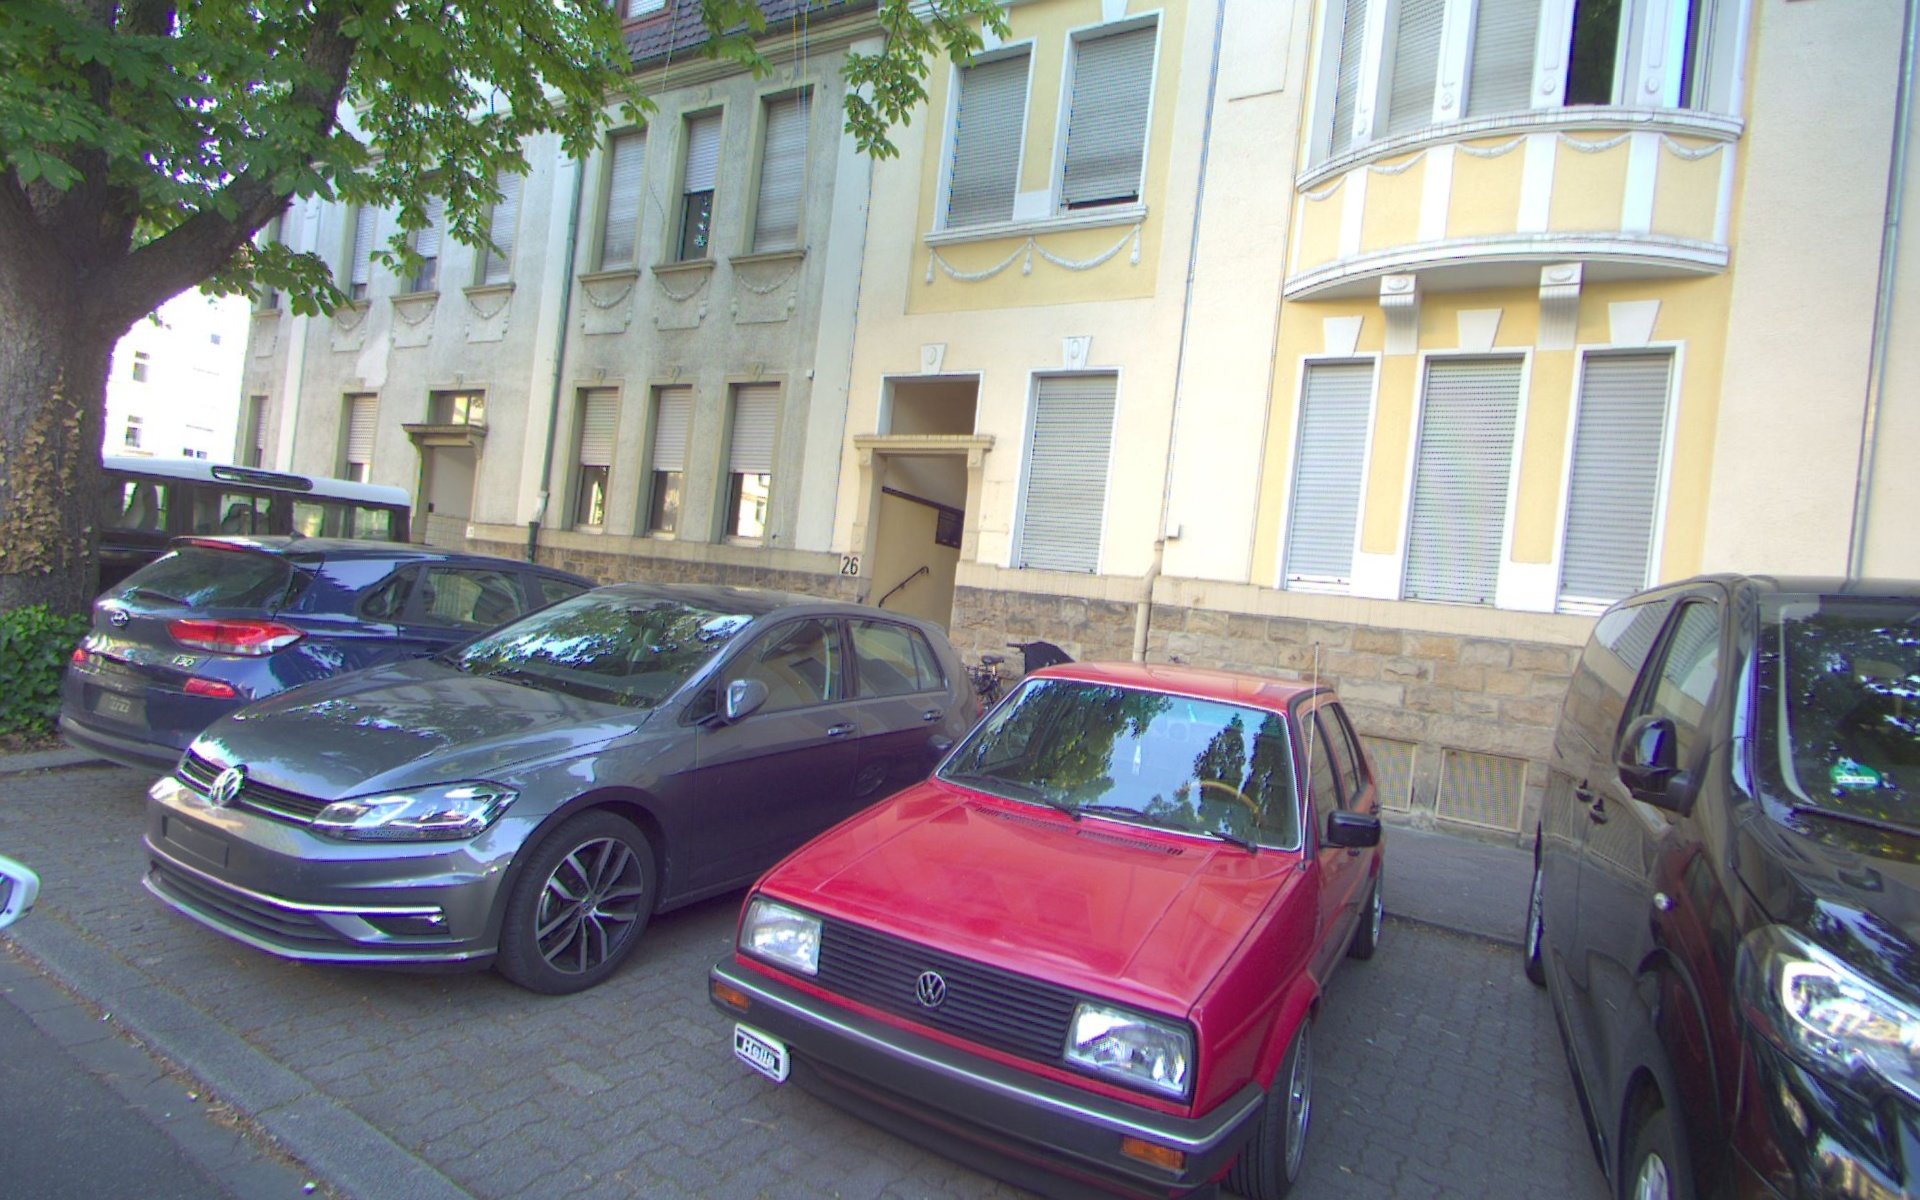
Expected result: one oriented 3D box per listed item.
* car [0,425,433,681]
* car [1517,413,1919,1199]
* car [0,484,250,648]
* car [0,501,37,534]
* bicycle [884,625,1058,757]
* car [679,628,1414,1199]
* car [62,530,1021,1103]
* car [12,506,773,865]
[{"bbox_3d":[-7.608,-0.386,9.310,1.762,1.981,4.496,7,1,29],"label":"car"},{"bbox_3d":[2.892,0.886,2.944,1.848,1.847,4.829,6,0,27],"label":"car"},{"bbox_3d":[-10.059,-0.403,10.825,1.680,1.606,3.488,7,0,25],"label":"car"},{"bbox_3d":[-36.217,-3.218,36.768,1.357,1.081,3.370,7,-1,30],"label":"car"},{"bbox_3d":[0.095,0.903,10.339,1.675,1.090,0.500,7,2,31],"label":"bicycle"},{"bbox_3d":[0.849,0.902,4.223,1.532,1.337,3.916,6,0,29],"label":"car"},{"bbox_3d":[-1.353,0.643,4.819,1.600,1.440,4.054,6,0,29],"label":"car"},{"bbox_3d":[-3.042,0.410,6.224,1.600,1.440,3.754,6,0,29],"label":"car"}]
